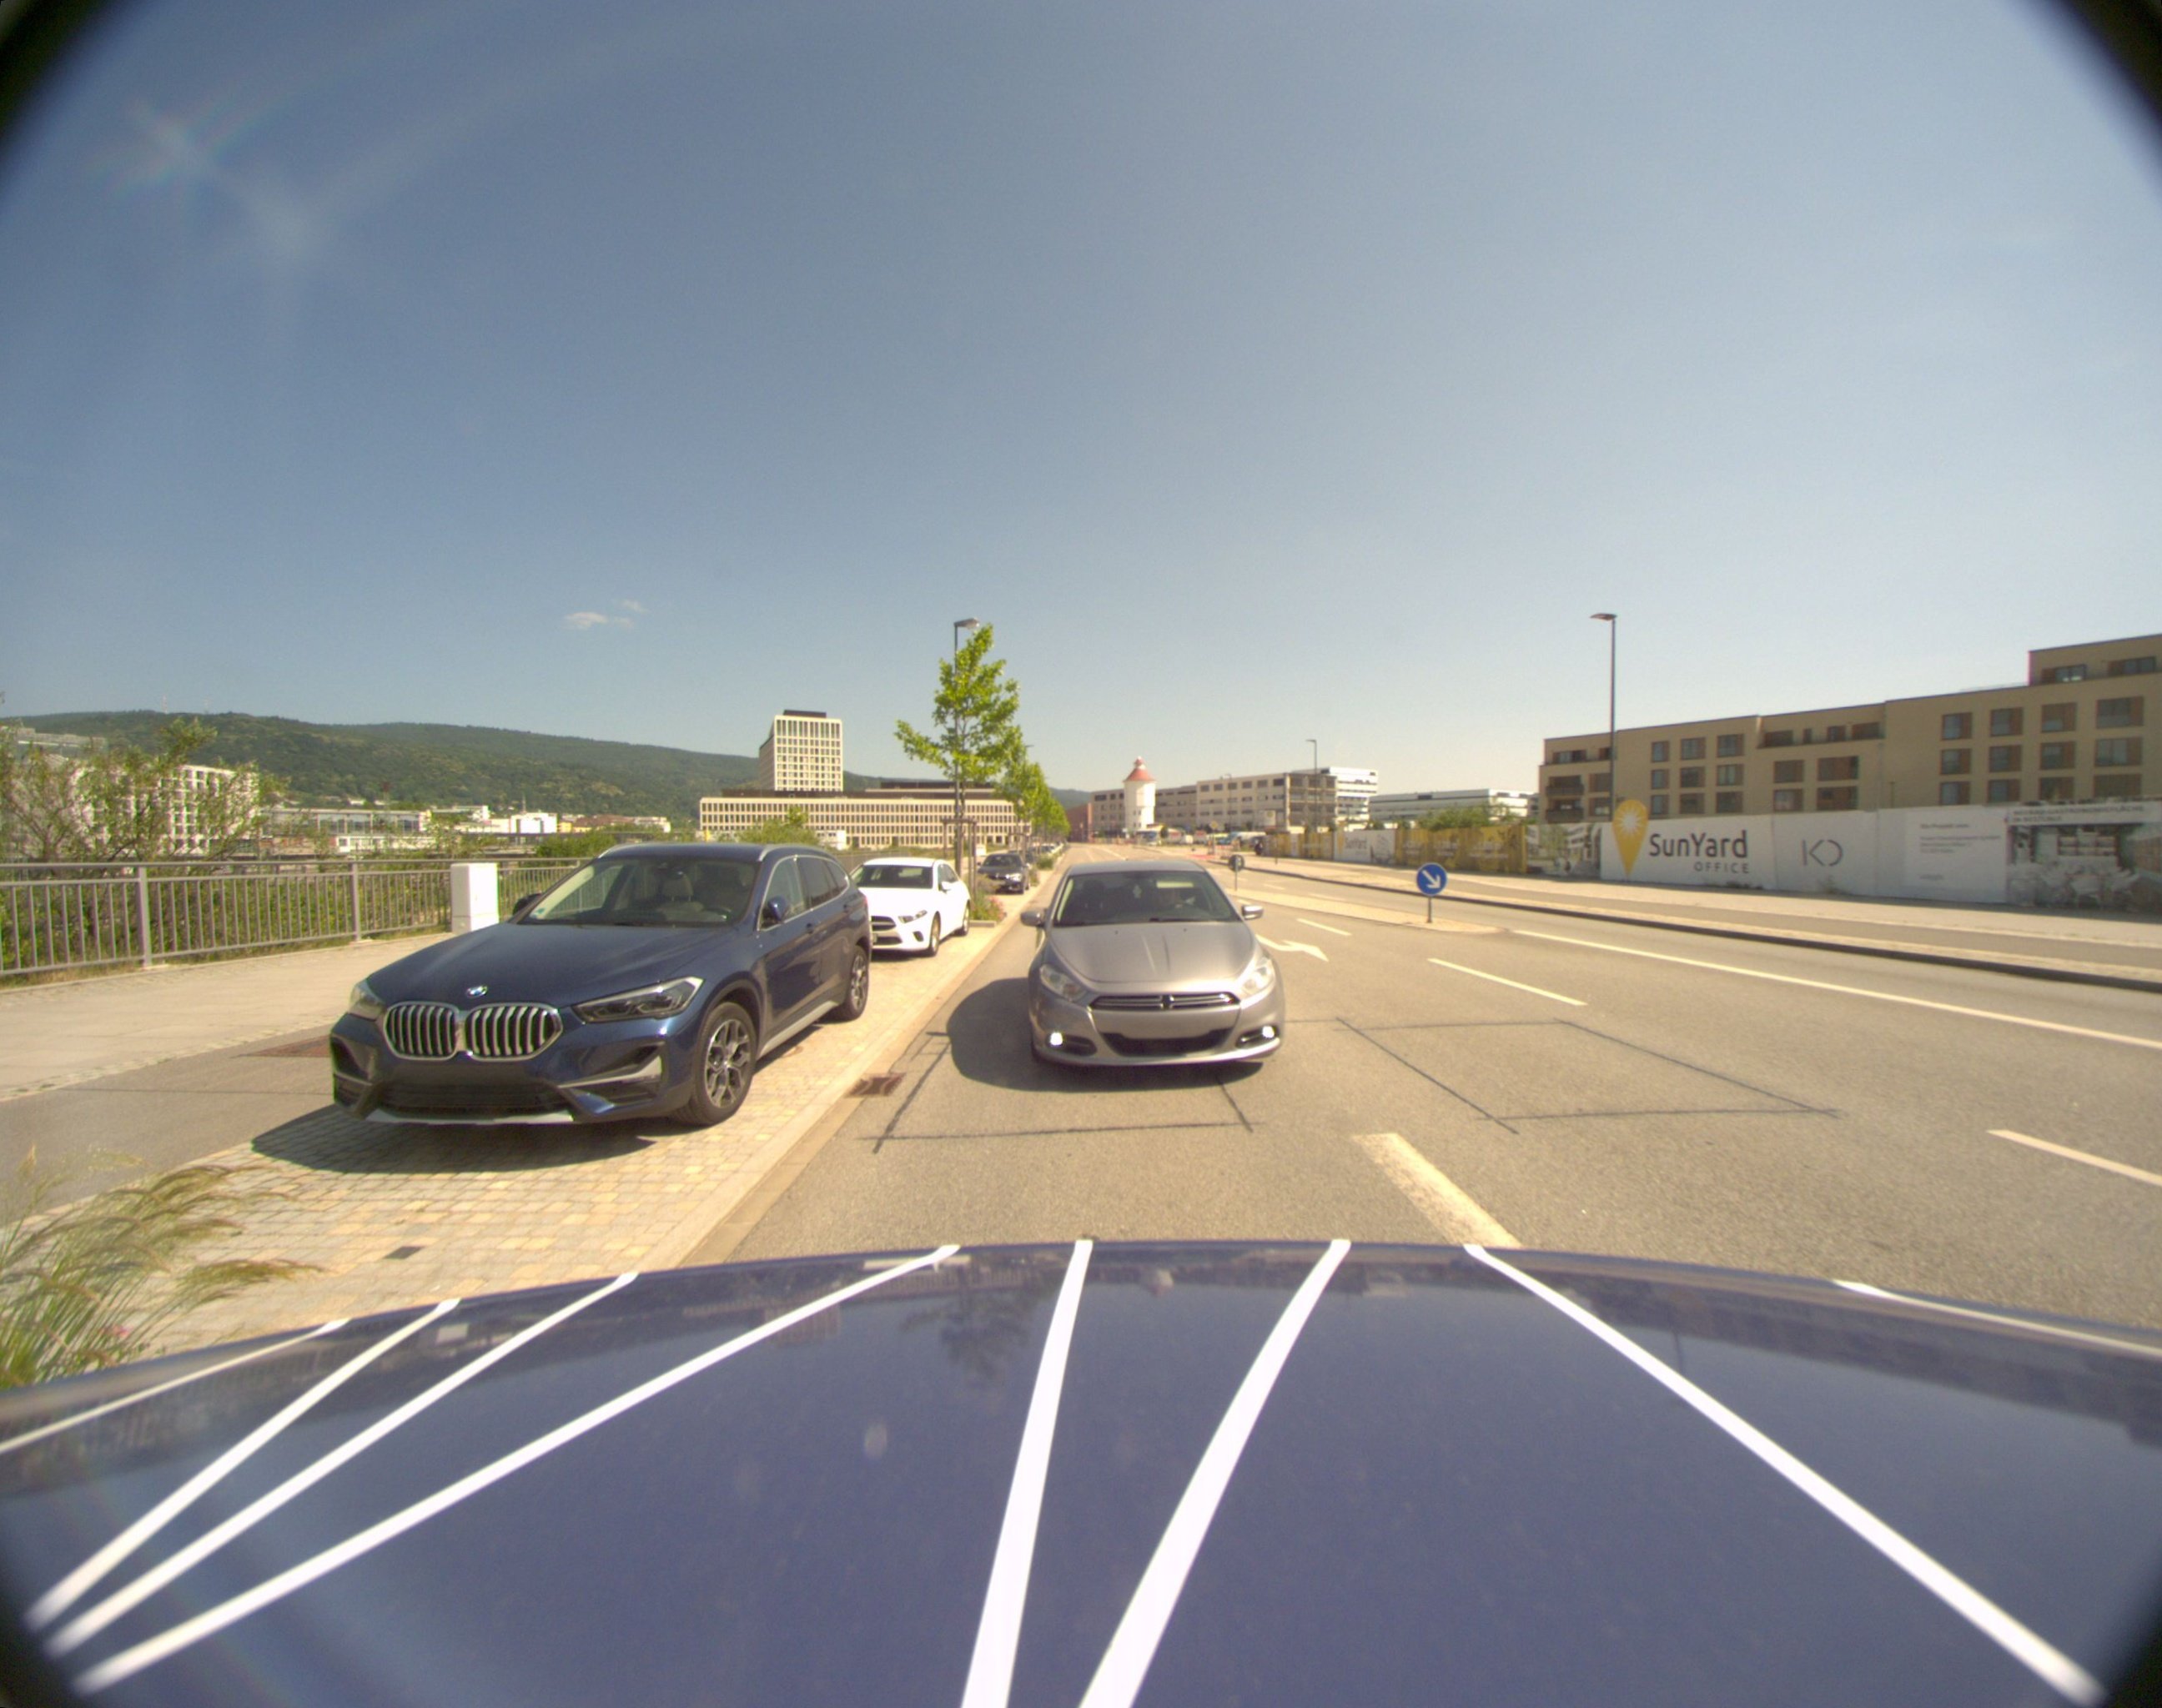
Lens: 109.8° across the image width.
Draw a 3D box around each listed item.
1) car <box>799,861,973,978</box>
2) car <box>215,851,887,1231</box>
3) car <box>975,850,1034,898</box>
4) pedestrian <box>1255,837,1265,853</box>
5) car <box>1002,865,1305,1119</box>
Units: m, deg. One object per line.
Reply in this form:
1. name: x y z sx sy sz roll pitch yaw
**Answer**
1. car: -2.922 0.905 12.267 1.664 1.447 3.999 -2 1 1
2. car: -2.893 0.830 5.494 1.769 1.598 4.238 -2 1 1
3. car: -2.752 0.670 27.974 1.664 1.529 3.999 -2 1 1
4. pedestrian: 18.264 -0.952 77.690 0.705 1.577 0.617 -3 1 -36
5. car: 0.469 0.869 6.668 1.784 1.372 4.135 -2 1 1
